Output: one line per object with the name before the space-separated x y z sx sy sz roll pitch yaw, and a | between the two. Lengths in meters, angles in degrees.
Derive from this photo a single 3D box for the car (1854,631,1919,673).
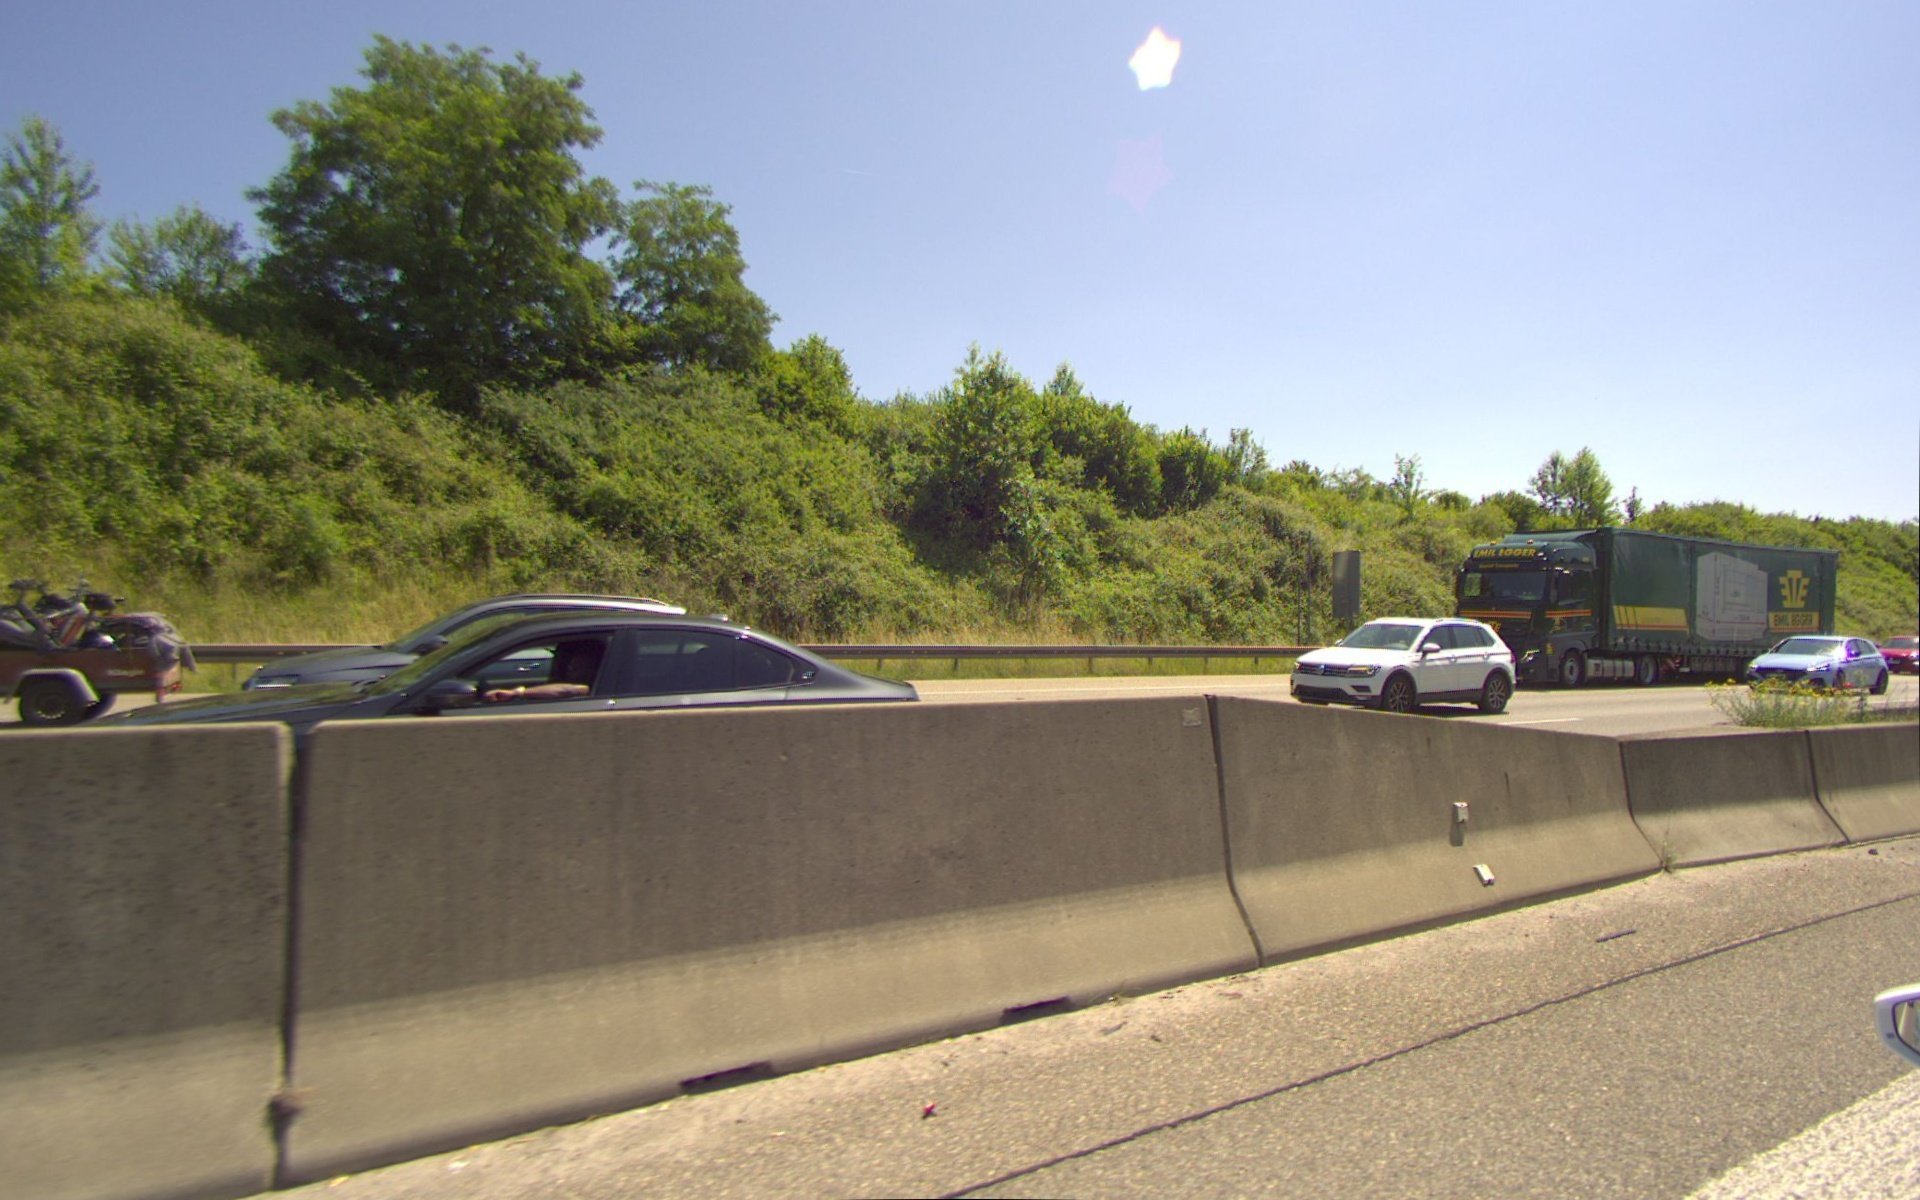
car | 36.793 2.024 39.036 4.073 1.486 1.803 2 0 -29

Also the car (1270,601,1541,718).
car | 7.785 0.998 17.401 4.934 1.788 1.818 2 -2 -31

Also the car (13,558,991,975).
car | -2.377 0.784 6.372 4.934 1.788 1.818 2 0 -31

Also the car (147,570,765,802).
car | -4.588 0.737 9.809 4.934 1.788 1.818 2 0 -31

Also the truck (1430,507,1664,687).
truck | 15.445 0.009 26.407 5.561 4.259 2.806 2 0 -29

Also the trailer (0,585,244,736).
trailer | -10.399 0.662 11.671 3.184 1.608 1.686 2 0 -30

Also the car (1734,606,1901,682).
car | 22.106 1.125 25.843 4.934 1.788 1.818 2 0 -31

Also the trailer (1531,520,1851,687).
trailer | 22.351 0.294 30.283 12.634 4.318 2.829 2 0 -30
